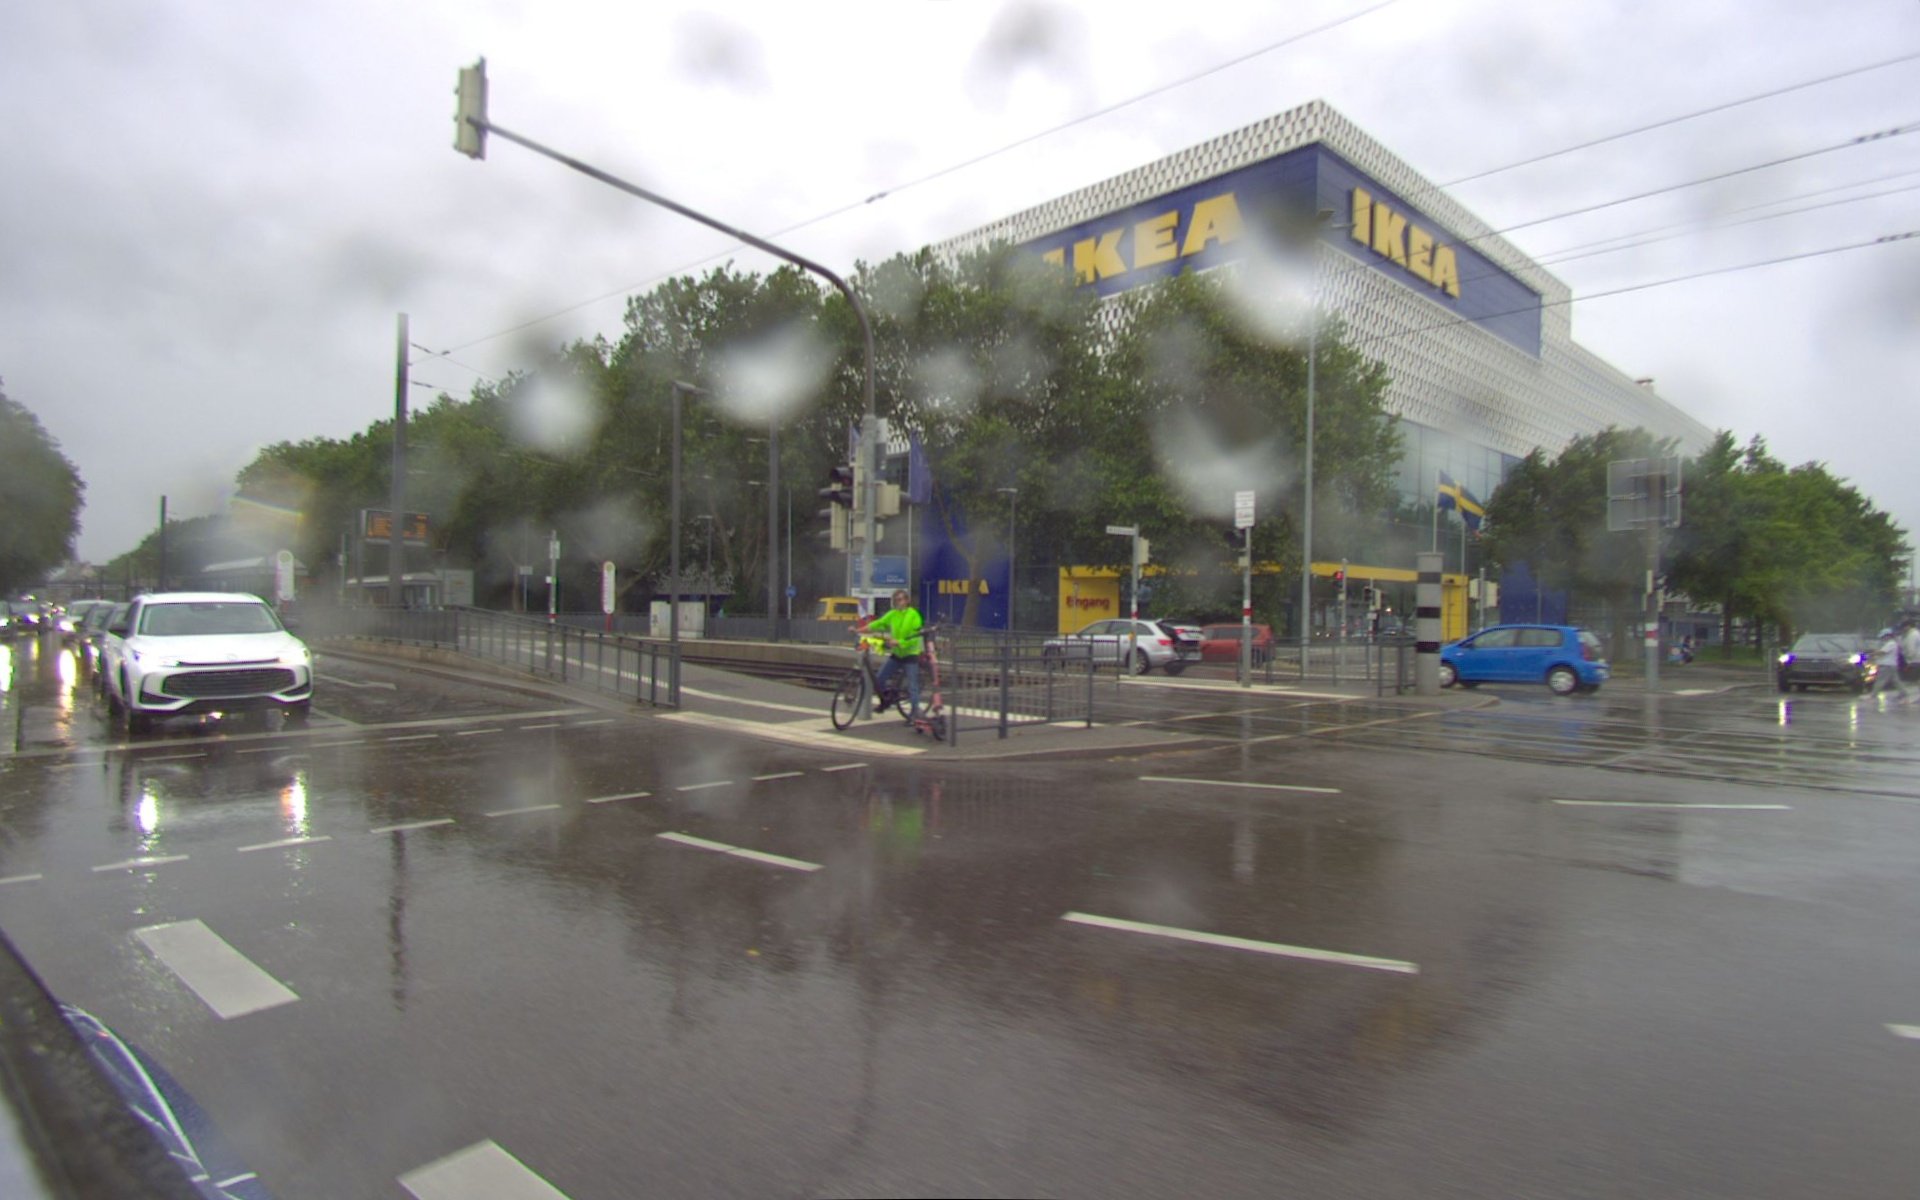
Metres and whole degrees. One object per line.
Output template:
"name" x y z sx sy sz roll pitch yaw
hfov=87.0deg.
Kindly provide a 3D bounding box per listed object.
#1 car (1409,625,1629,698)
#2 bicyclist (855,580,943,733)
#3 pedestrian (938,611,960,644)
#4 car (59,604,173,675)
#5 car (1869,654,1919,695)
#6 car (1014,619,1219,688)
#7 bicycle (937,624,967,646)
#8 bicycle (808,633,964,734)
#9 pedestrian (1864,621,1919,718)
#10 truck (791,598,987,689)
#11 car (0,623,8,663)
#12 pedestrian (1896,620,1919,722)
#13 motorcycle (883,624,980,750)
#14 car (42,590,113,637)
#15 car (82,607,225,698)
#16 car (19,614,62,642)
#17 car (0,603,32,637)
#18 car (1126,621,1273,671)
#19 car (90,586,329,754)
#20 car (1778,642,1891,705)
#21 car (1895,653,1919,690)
"car" 12.180 1.296 22.243 1.563 1.425 3.920 -1 -1 -42
"bicyclist" -0.728 0.650 12.031 0.793 1.745 0.610 -2 0 44
"pedestrian" -0.461 1.131 42.133 0.686 1.345 0.571 0 0 42
"car" -19.918 0.870 23.816 1.727 1.485 4.701 -1 0 -44
"car" 40.259 3.145 43.071 4.222 1.552 1.822 1 -2 -42
"car" 4.051 1.368 27.041 1.969 1.579 5.369 -2 0 -41
"bicycle" -0.327 1.454 42.026 1.175 0.863 0.566 0 1 42
"bicycle" -0.844 0.950 11.996 0.670 1.016 1.844 -2 0 45
"pedestrian" 20.188 1.476 21.854 0.683 2.029 0.629 -2 0 -12
"truck" -3.011 1.494 39.291 2.707 2.870 9.108 -1 2 -41
"car" -38.537 1.712 39.708 1.691 1.536 4.046 -1 -1 -44
"pedestrian" 20.790 1.524 21.816 0.562 2.151 0.634 -2 0 -12
"motorcycle" -0.332 0.893 10.909 0.519 1.230 1.406 -2 0 -23
"car" -31.117 0.483 35.644 1.691 1.536 4.046 -1 -1 -44
"car" -14.875 0.879 18.558 1.691 1.424 4.702 -1 0 -43
"car" -52.059 1.589 57.282 1.691 1.536 4.046 -1 -1 -44
"car" -45.721 0.977 48.571 1.691 1.536 4.046 -1 -1 -44
"car" 8.610 1.667 36.805 5.005 1.579 1.994 -2 0 11
"car" -9.955 0.770 13.265 1.966 1.802 4.557 -1 0 -44
"car" 24.440 1.983 28.247 4.222 1.552 1.822 1 -2 -42
"car" 47.298 3.475 49.548 4.223 1.552 1.822 -1 -1 -42
